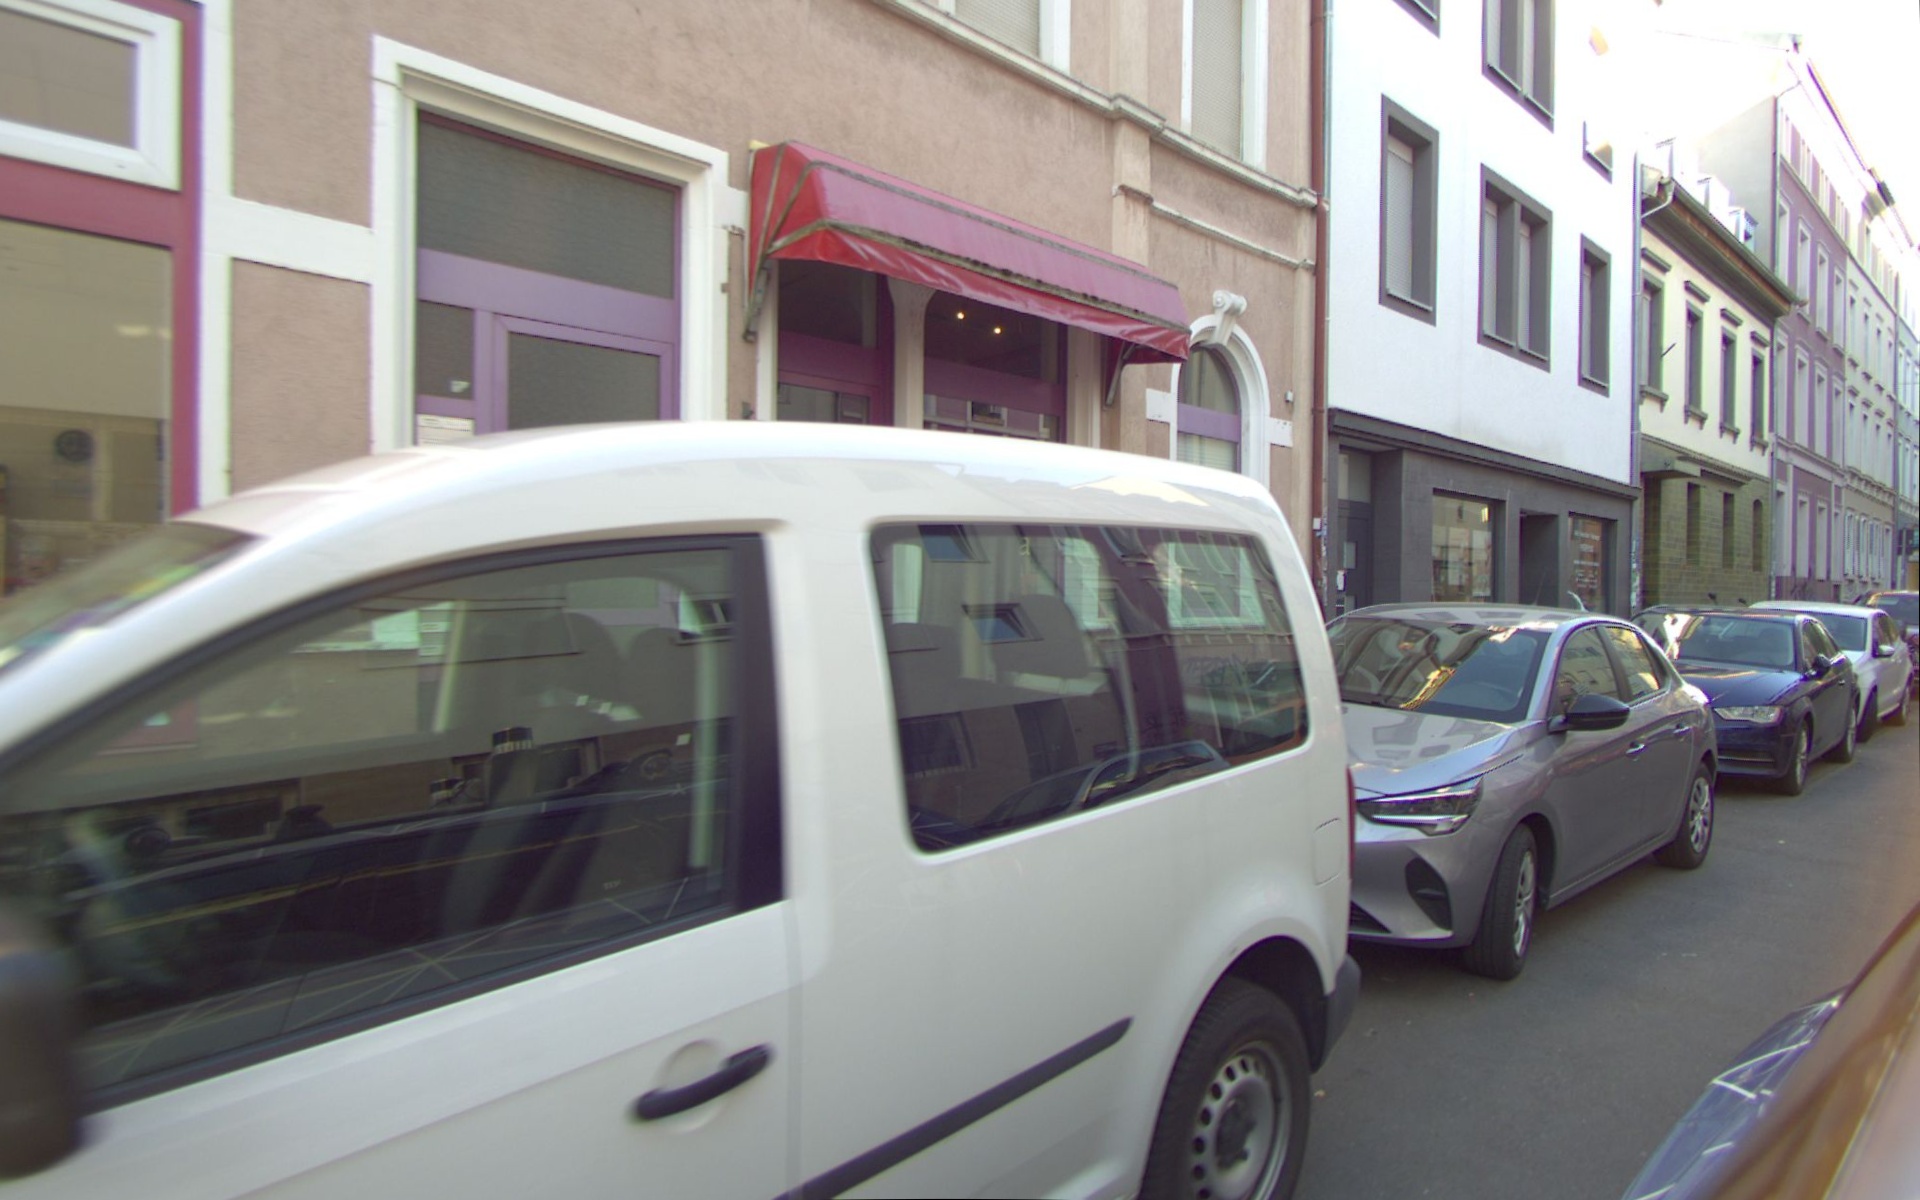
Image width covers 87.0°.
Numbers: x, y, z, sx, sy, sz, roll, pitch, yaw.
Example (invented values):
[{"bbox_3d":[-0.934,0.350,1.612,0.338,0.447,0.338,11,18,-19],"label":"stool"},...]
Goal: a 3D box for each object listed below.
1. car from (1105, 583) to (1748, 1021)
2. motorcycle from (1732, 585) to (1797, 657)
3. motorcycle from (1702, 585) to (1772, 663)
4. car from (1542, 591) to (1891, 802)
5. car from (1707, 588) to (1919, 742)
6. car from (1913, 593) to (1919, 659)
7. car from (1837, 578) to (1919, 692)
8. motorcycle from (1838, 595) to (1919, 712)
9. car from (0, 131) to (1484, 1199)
[{"bbox_3d":[2.627,0.650,5.266,3.814,1.425,1.612,-1,3,-41],"label":"car"},{"bbox_3d":[16.501,0.402,20.749,2.002,1.414,0.696,-1,0,-41],"label":"motorcycle"},{"bbox_3d":[14.846,0.427,19.317,2.002,1.414,0.666,-1,0,-41],"label":"motorcycle"},{"bbox_3d":[6.900,0.668,9.096,3.814,1.413,1.735,-1,3,-41],"label":"car"},{"bbox_3d":[10.597,0.653,12.333,3.707,1.522,1.619,-1,3,-41],"label":"car"},{"bbox_3d":[22.405,0.572,22.342,3.814,1.413,1.612,-1,3,-41],"label":"car"},{"bbox_3d":[16.519,0.523,17.289,4.332,1.752,1.712,-1,3,-41],"label":"car"},{"bbox_3d":[13.471,0.713,14.514,2.228,1.508,0.989,-1,3,-41],"label":"motorcycle"},{"bbox_3d":[-0.819,0.512,1.919,4.294,1.839,1.752,-1,3,-41],"label":"car"}]
